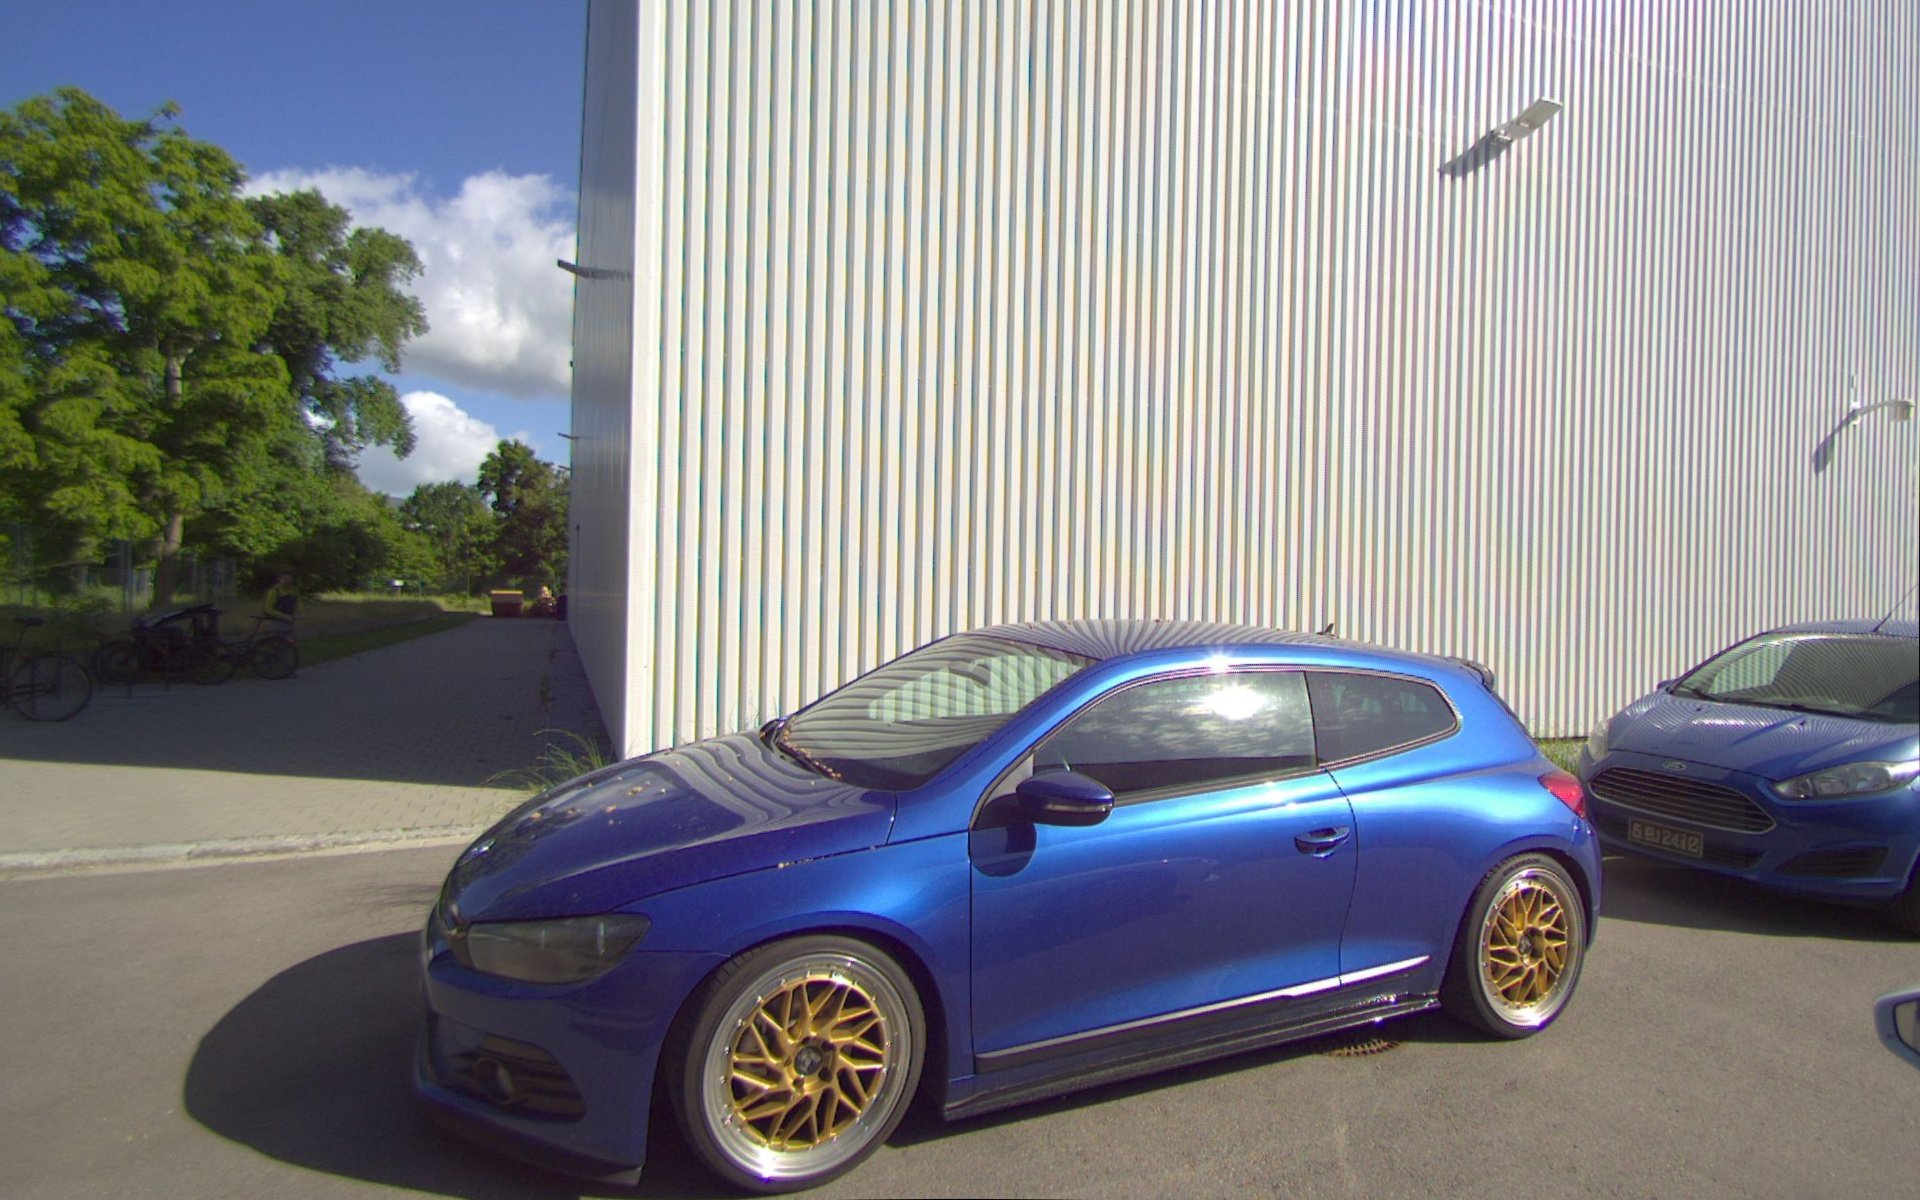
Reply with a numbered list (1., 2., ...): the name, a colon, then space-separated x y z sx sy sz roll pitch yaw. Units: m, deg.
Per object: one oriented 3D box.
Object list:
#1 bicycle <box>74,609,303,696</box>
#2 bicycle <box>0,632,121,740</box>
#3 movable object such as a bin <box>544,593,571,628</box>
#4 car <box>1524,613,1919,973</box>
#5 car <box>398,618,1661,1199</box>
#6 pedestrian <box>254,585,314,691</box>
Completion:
1. bicycle: -12.067 0.809 15.846 2.597 1.283 1.136 1 -1 -18
2. bicycle: -10.085 0.893 10.543 1.867 1.109 0.523 1 -1 -24
3. movable object such as a bin: -24.058 0.642 60.101 1.401 2.040 1.121 1 0 -18
4. car: 5.227 0.861 5.717 3.712 1.466 1.615 1 1 -24
5. car: 0.356 0.811 3.545 3.898 1.368 1.664 1 1 -24
6. pedestrian: -11.392 0.635 16.938 0.502 1.751 0.636 1 -1 11
